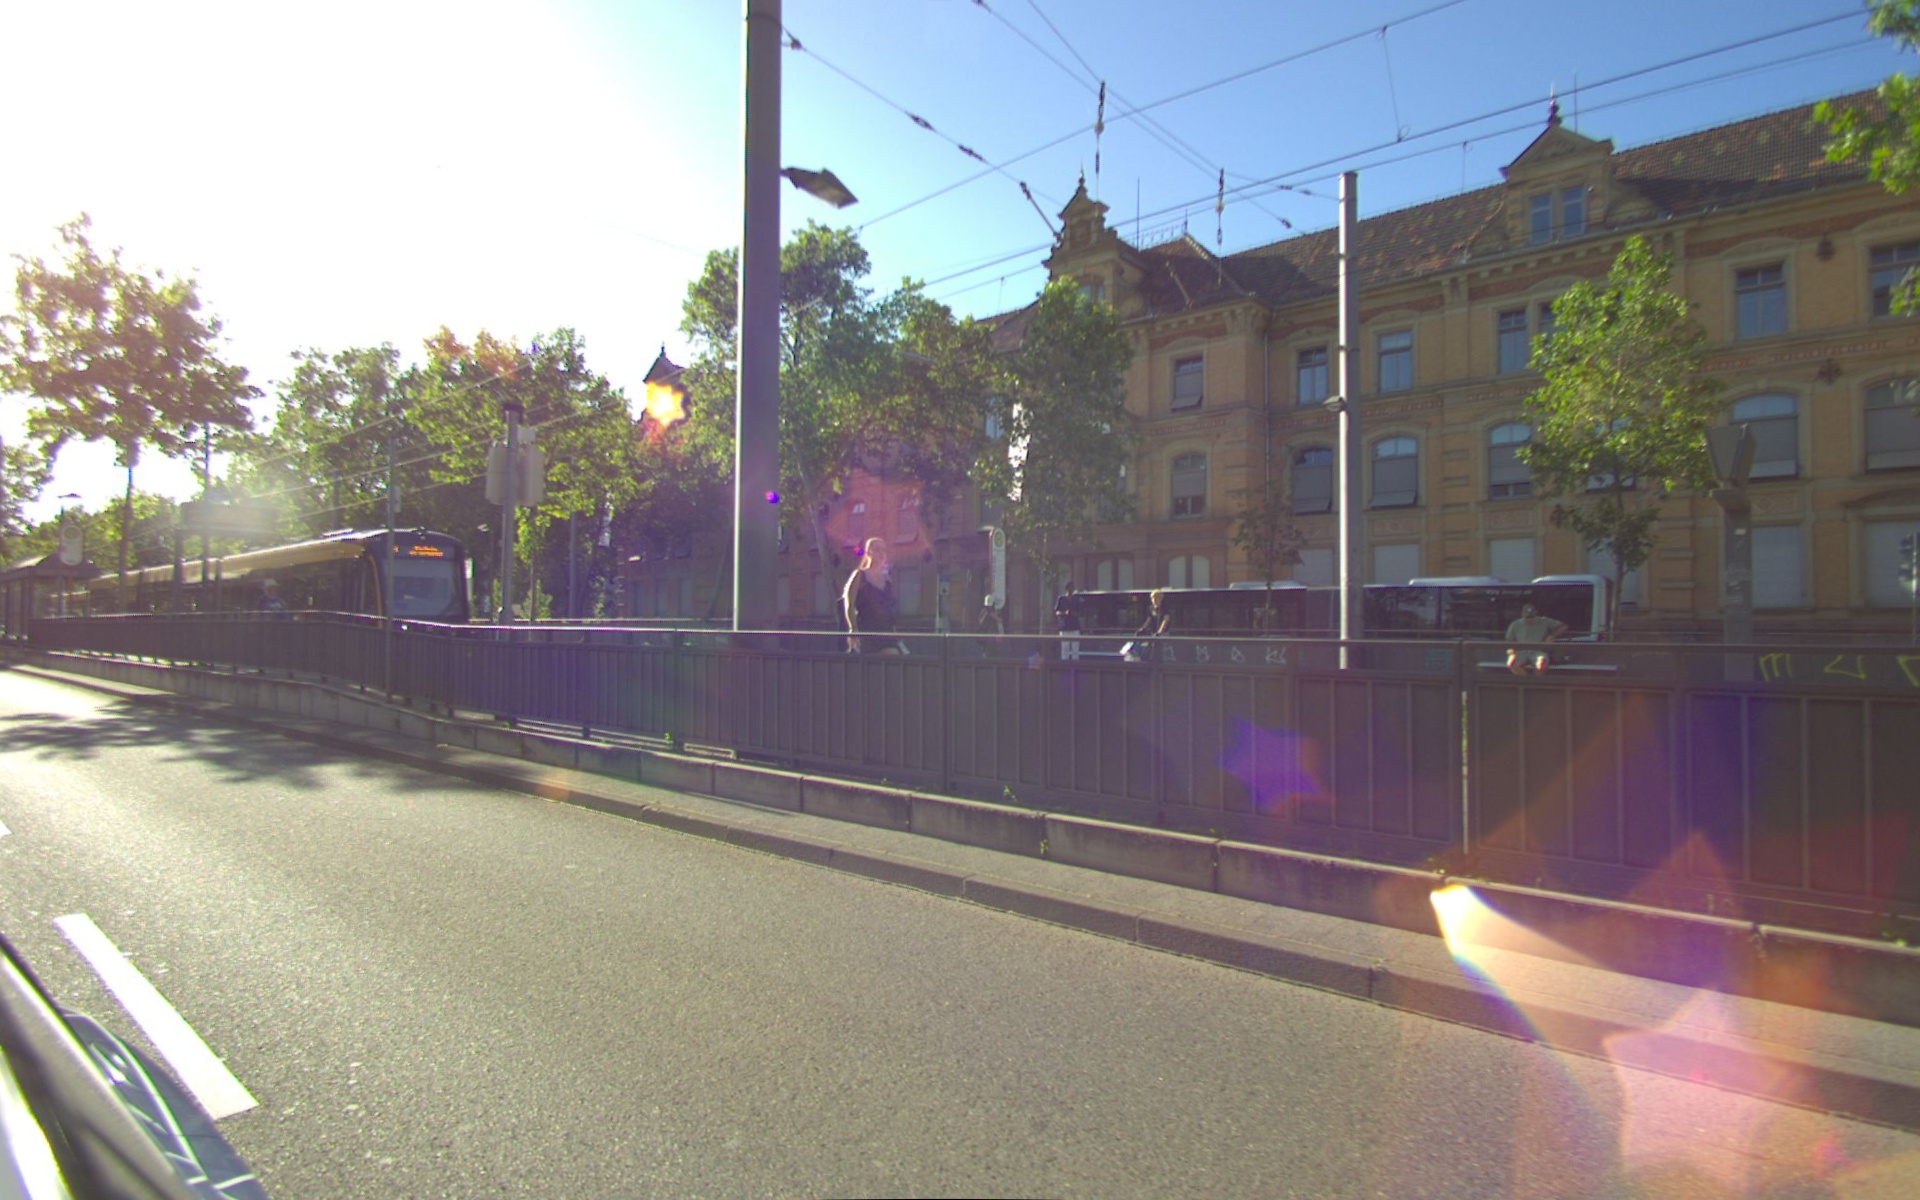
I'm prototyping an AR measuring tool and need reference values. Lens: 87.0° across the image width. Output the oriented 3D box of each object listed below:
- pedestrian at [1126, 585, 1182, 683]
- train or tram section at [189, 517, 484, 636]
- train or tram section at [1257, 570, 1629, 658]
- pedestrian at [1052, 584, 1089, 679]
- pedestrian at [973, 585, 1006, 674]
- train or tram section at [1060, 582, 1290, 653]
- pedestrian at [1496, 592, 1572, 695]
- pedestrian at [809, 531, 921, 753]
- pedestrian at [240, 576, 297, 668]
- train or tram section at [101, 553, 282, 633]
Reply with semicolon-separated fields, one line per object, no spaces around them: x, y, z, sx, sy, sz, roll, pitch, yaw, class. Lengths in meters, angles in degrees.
3.610;0.625;18.836;0.812;1.770;0.668;-2;-2;38;pedestrian
-17.950;-0.346;28.147;15.668;2.584;2.536;-1;-2;41;train or tram section
14.485;0.492;31.277;10.053;2.346;2.616;-2;-2;42;train or tram section
2.165;0.626;19.863;0.617;1.815;0.624;1;-3;0;pedestrian
0.623;0.609;21.066;0.618;1.815;0.622;0;-3;8;pedestrian
7.726;0.676;37.343;8.074;2.346;2.616;-2;-2;42;train or tram section
8.500;0.645;14.979;0.878;1.472;0.719;-1;-4;37;pedestrian
-0.780;0.332;8.324;0.623;1.723;0.674;-2;-2;40;pedestrian
-12.752;0.405;18.666;0.761;1.648;0.691;-2;-2;41;pedestrian
-29.463;-0.054;38.320;15.066;2.551;2.536;-1;-2;41;train or tram section
